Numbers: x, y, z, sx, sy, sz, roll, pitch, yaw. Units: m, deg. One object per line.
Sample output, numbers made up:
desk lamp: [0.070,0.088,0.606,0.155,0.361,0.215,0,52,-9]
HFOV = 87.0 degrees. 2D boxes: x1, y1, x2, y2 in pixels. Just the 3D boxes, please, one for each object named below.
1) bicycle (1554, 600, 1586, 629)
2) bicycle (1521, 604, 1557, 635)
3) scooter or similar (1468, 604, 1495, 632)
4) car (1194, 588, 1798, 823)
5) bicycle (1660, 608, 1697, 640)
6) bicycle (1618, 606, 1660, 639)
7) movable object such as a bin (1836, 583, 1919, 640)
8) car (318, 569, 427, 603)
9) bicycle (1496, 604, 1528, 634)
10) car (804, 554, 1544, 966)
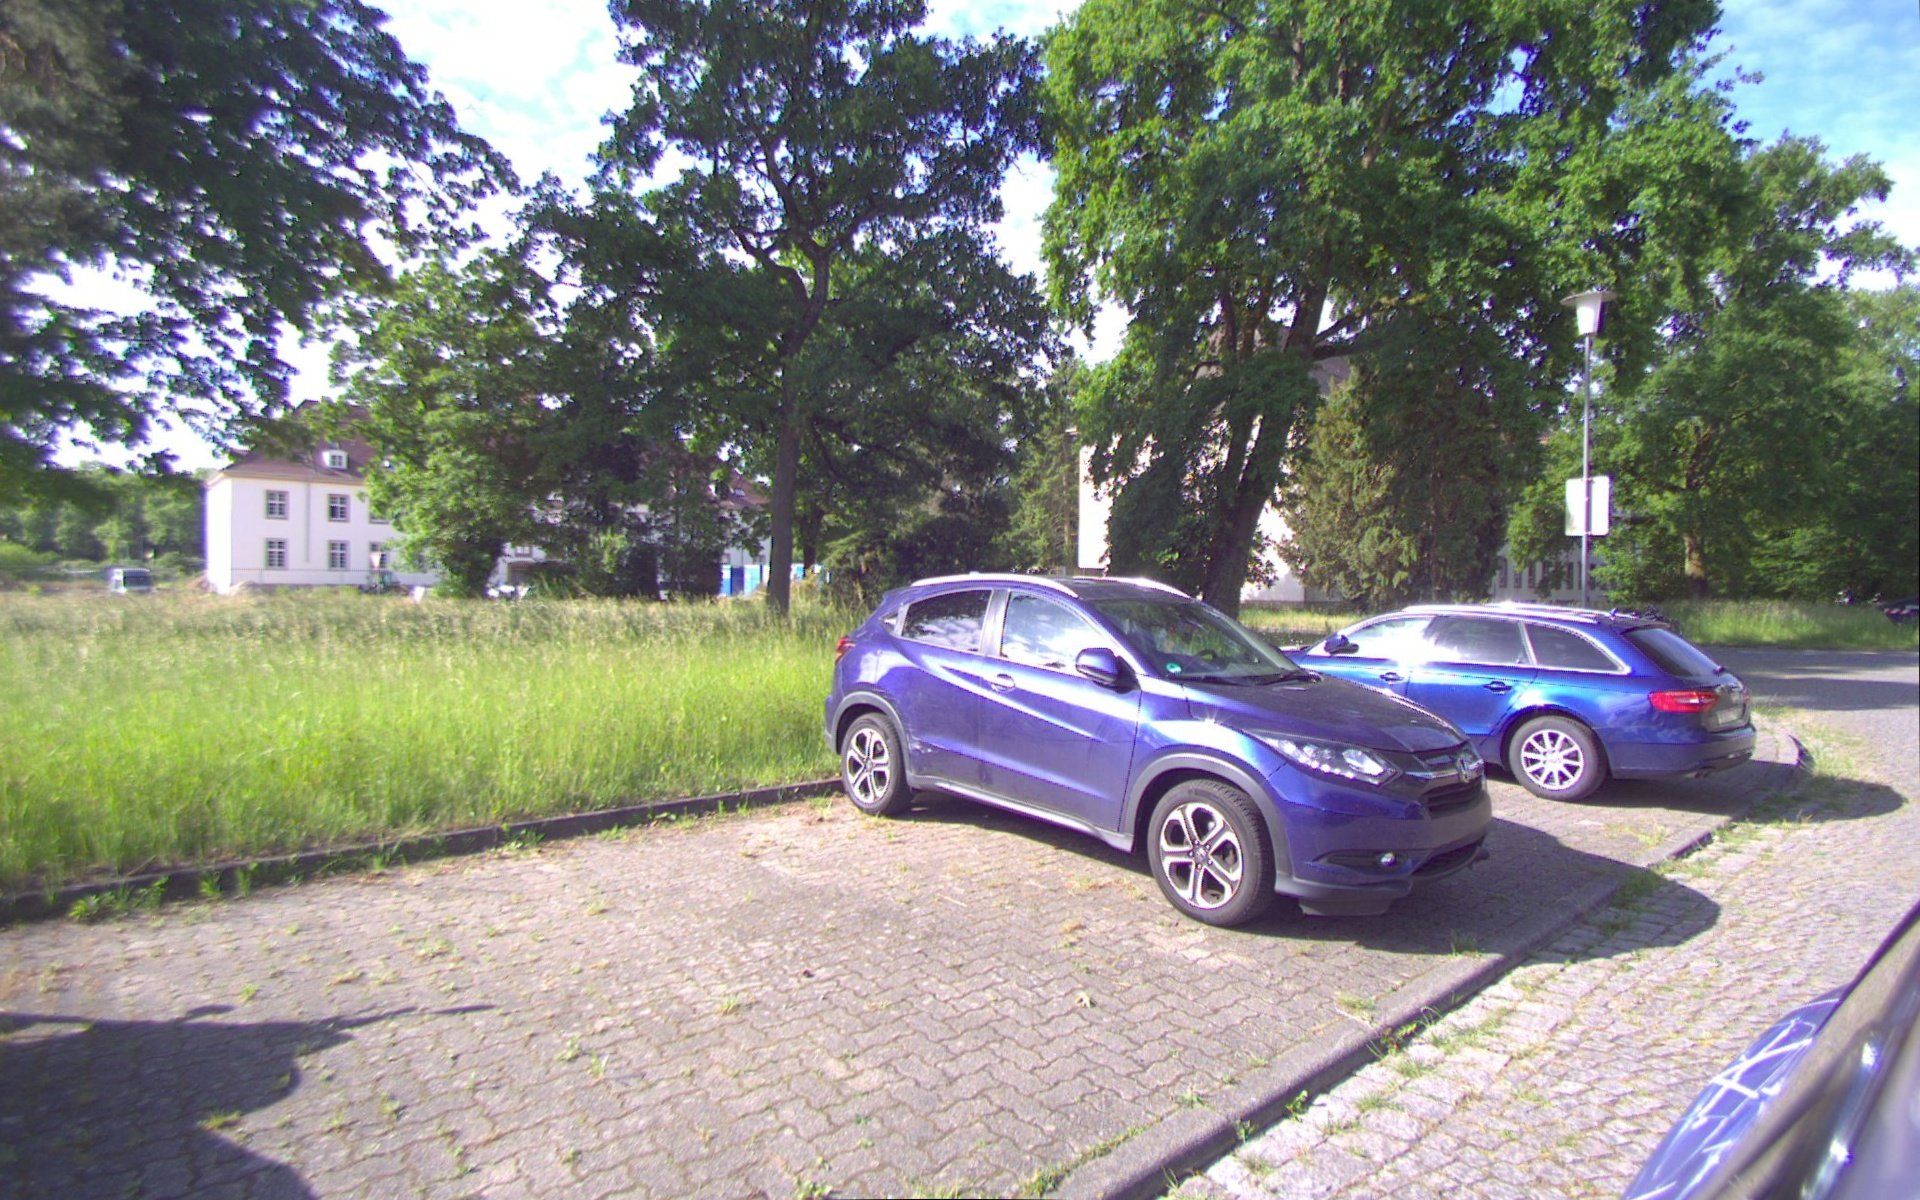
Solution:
bicycle: [22.886,0.541,37.956,0.700,1.029,1.024,1,1,11]
bicycle: [20.057,0.672,35.034,1.007,1.029,0.711,0,1,-34]
scooter or similar: [18.247,0.633,35.419,0.767,0.941,0.257,1,1,43]
car: [4.436,0.686,9.074,1.682,1.425,4.462,0,2,-38]
bicycle: [22.540,0.735,31.750,1.122,0.946,0.745,0,1,-45]
bicycle: [21.618,0.704,32.211,1.232,1.029,0.711,0,1,-34]
movable object such as a bin: [31.235,0.365,31.999,1.959,1.781,4.949,0,1,-26]
car: [-39.168,-0.955,67.643,5.888,2.198,2.381,-1,1,-19]
bicycle: [19.286,0.664,35.366,1.009,1.029,0.619,0,1,-39]
car: [0.926,0.584,6.108,1.721,1.611,4.184,0,1,-41]
